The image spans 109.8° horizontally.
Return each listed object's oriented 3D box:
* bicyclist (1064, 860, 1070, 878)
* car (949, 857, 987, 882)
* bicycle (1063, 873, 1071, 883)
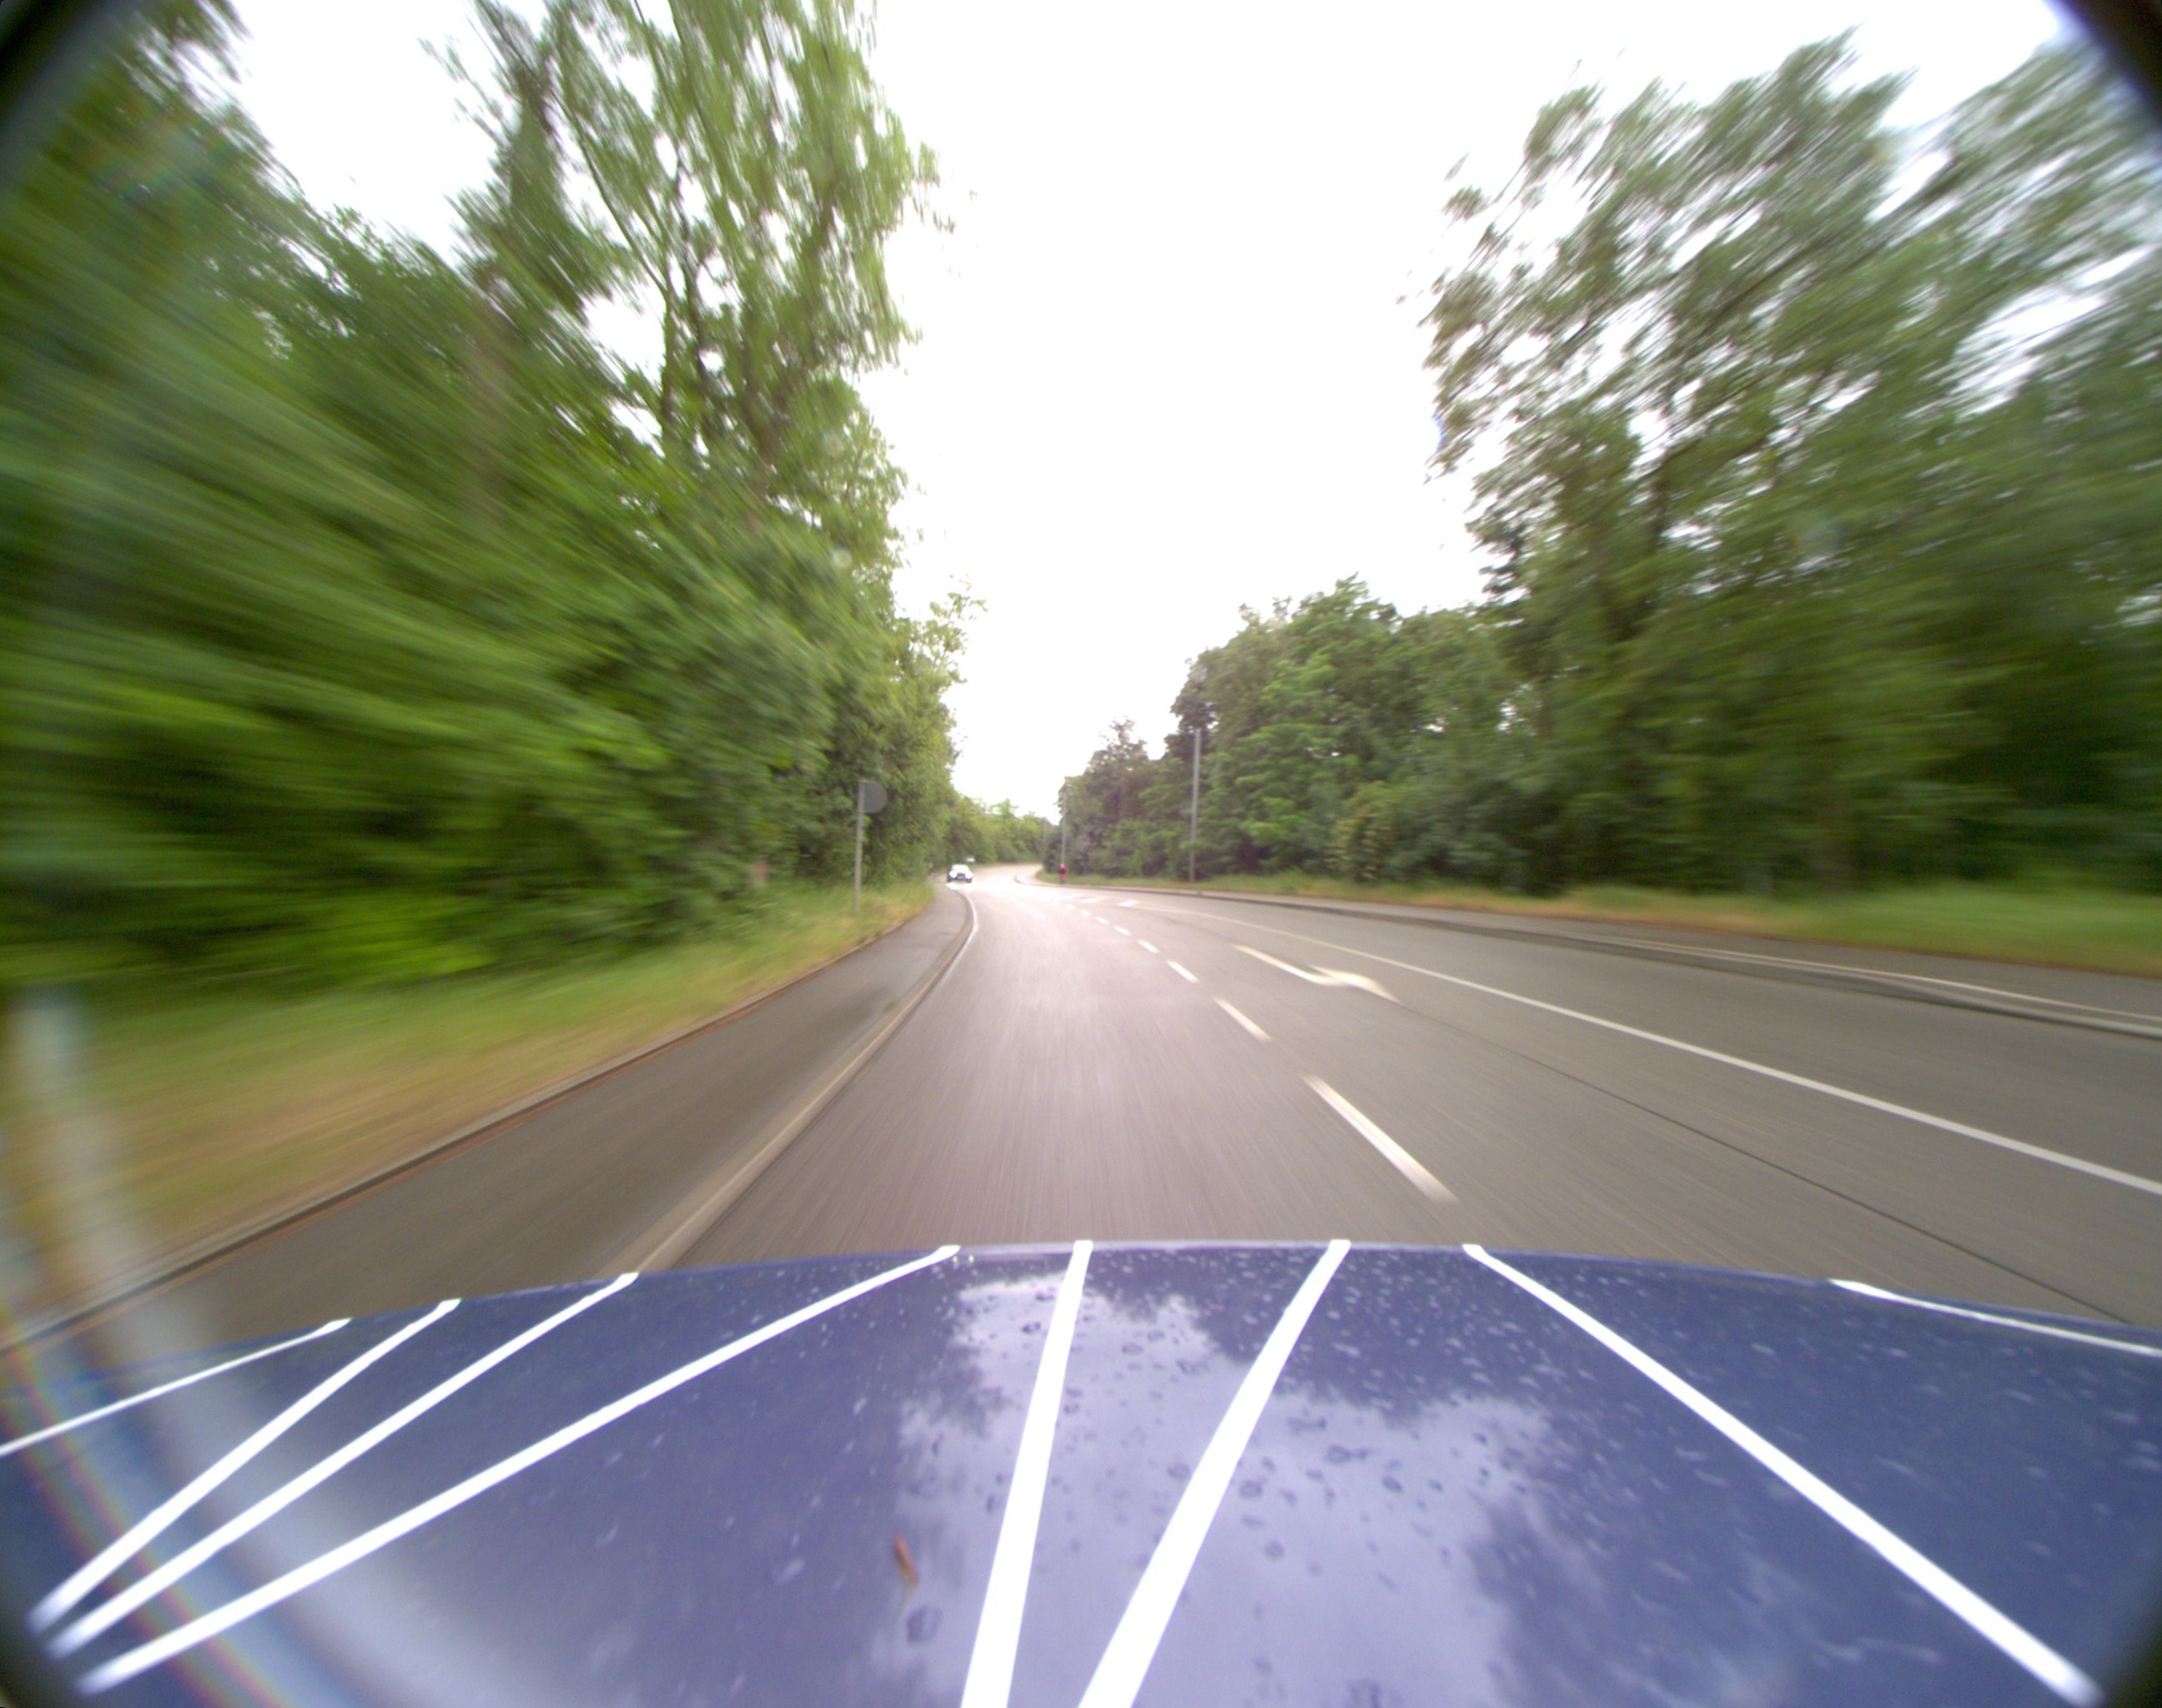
[{"bbox_3d":[-1.194,1.317,65.498,0.337,1.565,1.297,1,-1,-9],"label":"bicyclist"},{"bbox_3d":[-8.856,1.249,59.957,1.830,1.511,4.004,8,-3,6],"label":"car"},{"bbox_3d":[-1.204,2.063,65.462,0.357,0.844,2.092,1,-1,-9],"label":"bicycle"}]
